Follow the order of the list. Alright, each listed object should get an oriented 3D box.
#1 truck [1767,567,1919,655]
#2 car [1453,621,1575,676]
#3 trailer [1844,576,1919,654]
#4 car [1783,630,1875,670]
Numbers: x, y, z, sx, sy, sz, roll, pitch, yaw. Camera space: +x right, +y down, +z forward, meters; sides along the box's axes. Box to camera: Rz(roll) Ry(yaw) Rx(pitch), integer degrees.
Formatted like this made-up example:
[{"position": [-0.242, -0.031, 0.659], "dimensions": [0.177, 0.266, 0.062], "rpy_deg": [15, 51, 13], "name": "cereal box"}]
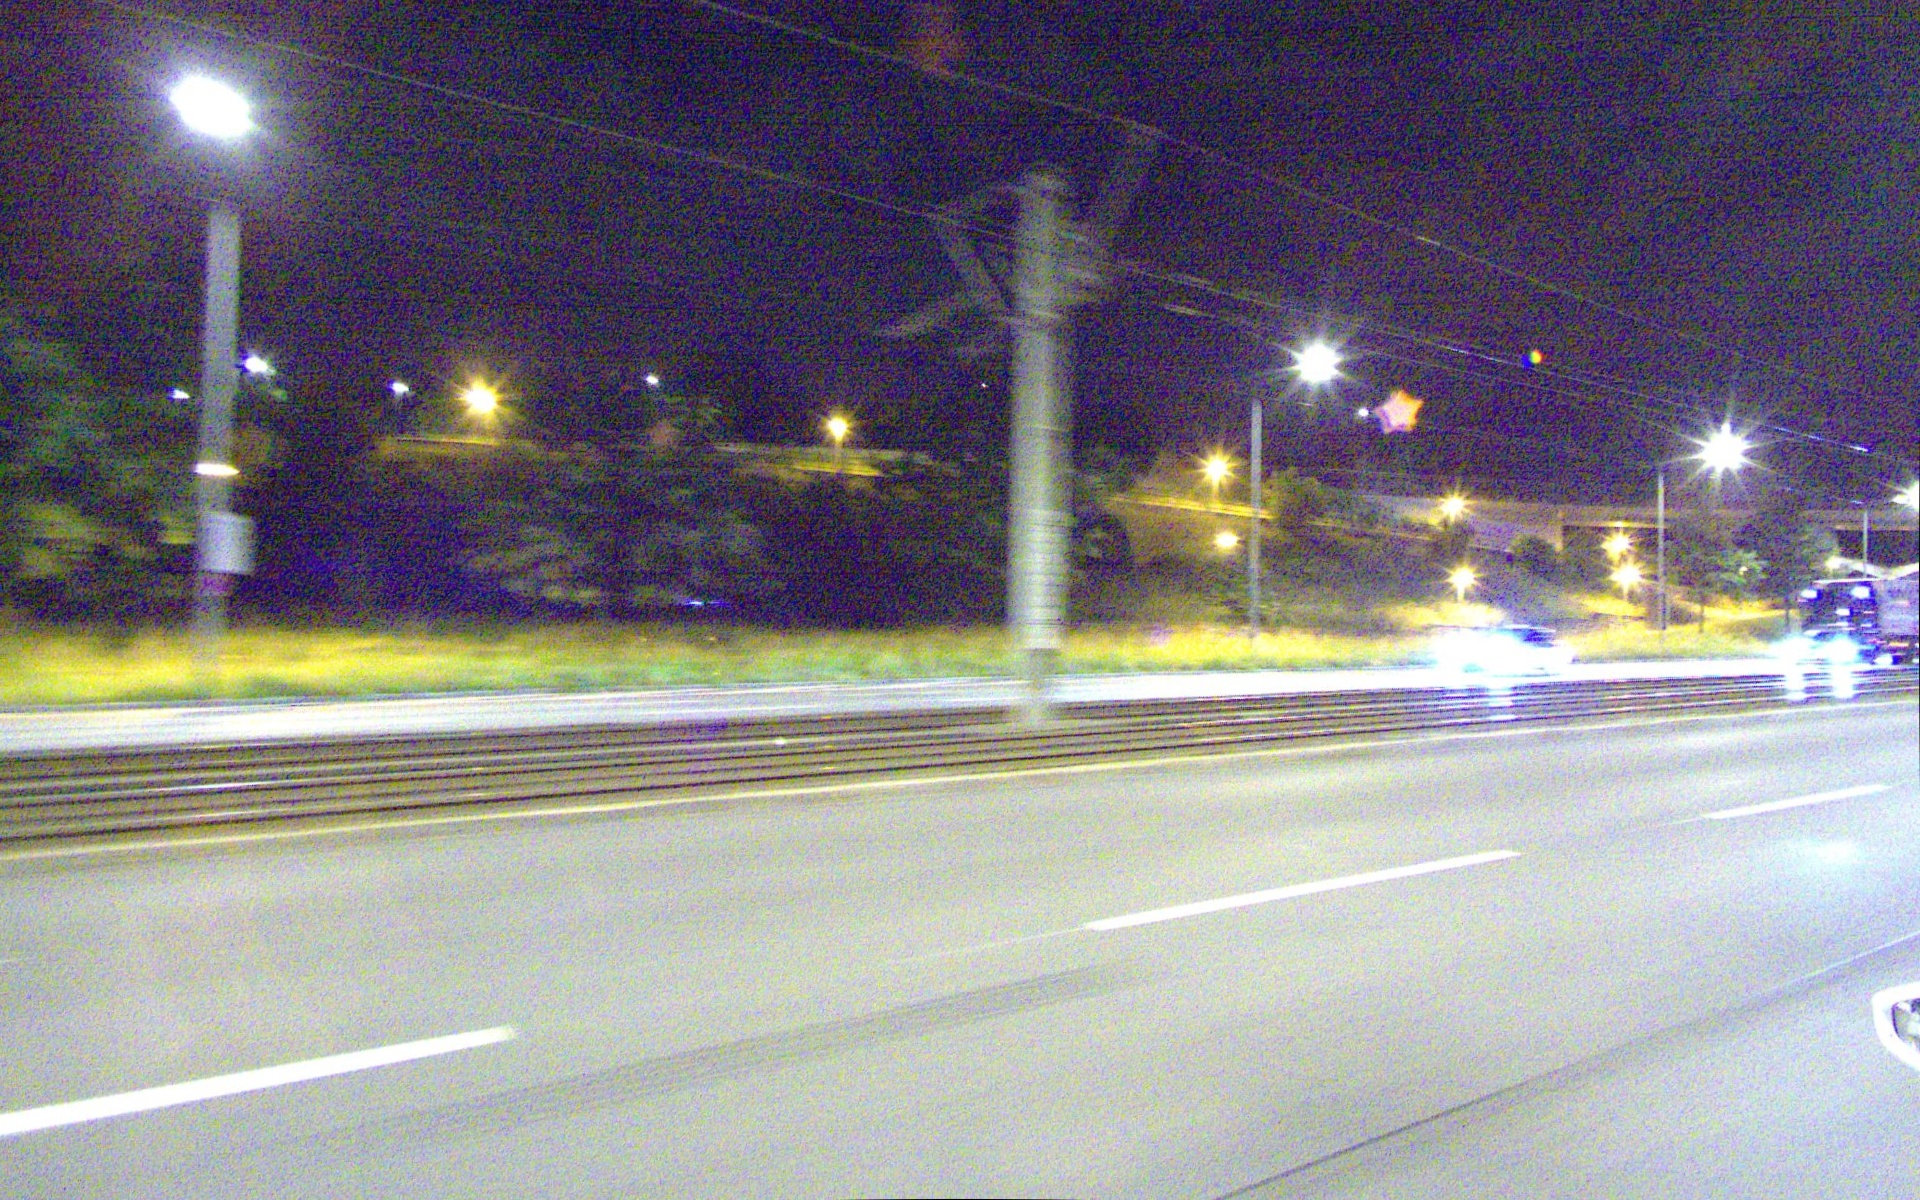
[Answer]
[{"position": [44.780, 0.605, 50.309], "dimensions": [10.307, 4.007, 3.660], "rpy_deg": [2, 0, -32], "name": "truck"}, {"position": [18.216, 1.580, 33.011], "dimensions": [3.915, 1.647, 1.717], "rpy_deg": [2, 0, -30], "name": "car"}, {"position": [52.681, 0.875, 55.394], "dimensions": [8.302, 4.043, 3.676], "rpy_deg": [2, 0, -32], "name": "trailer"}, {"position": [34.911, 1.979, 40.335], "dimensions": [4.042, 1.519, 1.793], "rpy_deg": [2, -1, -33], "name": "car"}]
